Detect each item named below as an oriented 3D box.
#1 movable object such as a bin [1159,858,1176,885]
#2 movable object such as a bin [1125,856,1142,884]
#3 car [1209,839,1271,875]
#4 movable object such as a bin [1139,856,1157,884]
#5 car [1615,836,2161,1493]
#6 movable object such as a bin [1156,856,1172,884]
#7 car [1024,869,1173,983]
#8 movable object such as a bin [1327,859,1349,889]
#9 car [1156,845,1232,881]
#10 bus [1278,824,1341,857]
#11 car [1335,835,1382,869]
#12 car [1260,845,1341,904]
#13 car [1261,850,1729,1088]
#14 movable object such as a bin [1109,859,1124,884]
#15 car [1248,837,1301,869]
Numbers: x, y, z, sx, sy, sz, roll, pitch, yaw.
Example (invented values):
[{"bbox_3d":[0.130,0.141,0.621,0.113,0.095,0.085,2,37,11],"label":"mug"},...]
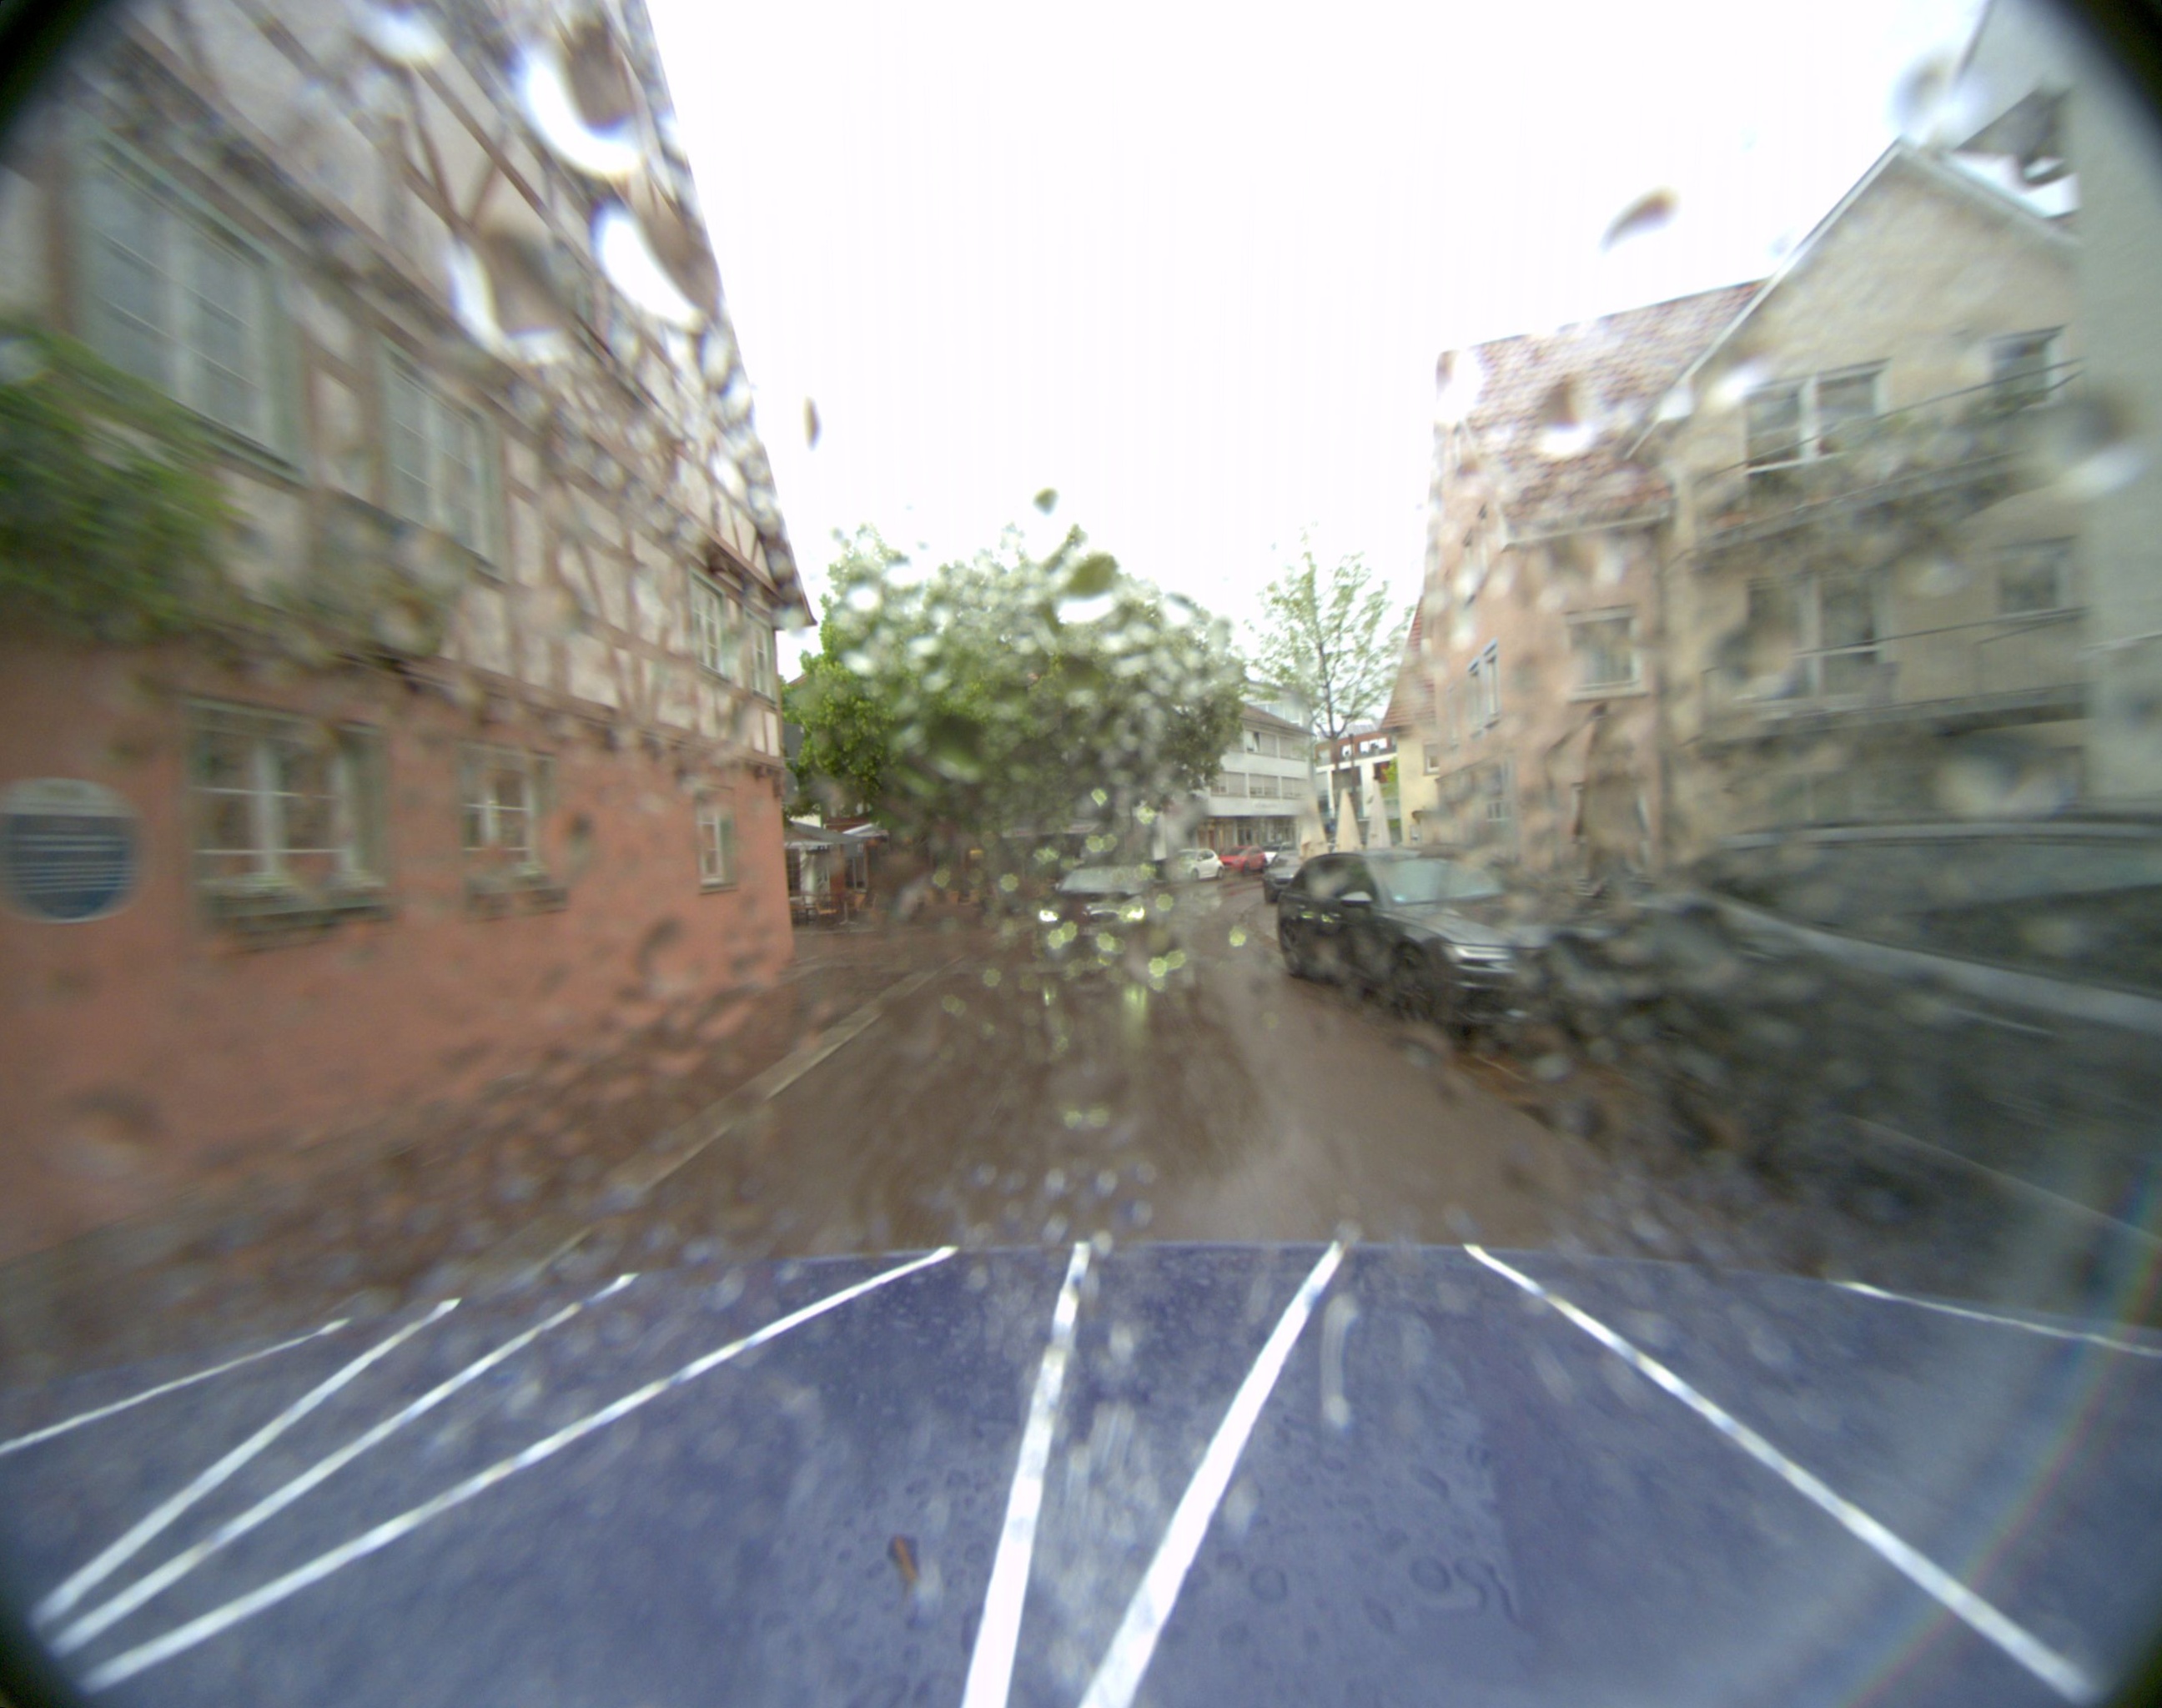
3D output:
[{"bbox_3d":[3.741,0.745,32.790,0.534,1.143,0.501,-2,2,27],"label":"movable object such as a bin"},{"bbox_3d":[2.272,0.699,32.972,0.503,1.143,0.581,-2,2,27],"label":"movable object such as a bin"},{"bbox_3d":[8.389,0.122,39.840,1.691,1.680,3.964,-2,2,35],"label":"car"},{"bbox_3d":[2.888,0.695,32.763,0.545,1.143,0.586,-2,2,27],"label":"movable object such as a bin"},{"bbox_3d":[3.421,0.769,1.811,1.596,1.537,3.976,-3,1,3],"label":"car"},{"bbox_3d":[3.501,0.692,32.218,0.477,1.162,0.489,-2,2,27],"label":"movable object such as a bin"},{"bbox_3d":[0.084,1.036,12.932,1.999,1.398,4.892,-3,0,-4],"label":"car"},{"bbox_3d":[9.936,0.774,29.392,0.660,1.103,0.625,-2,2,29],"label":"movable object such as a bin"},{"bbox_3d":[5.356,0.406,35.547,1.691,1.530,4.412,-2,0,35],"label":"car"},{"bbox_3d":[25.164,-1.486,84.320,2.679,3.281,10.685,-3,1,-6],"label":"bus"},{"bbox_3d":[12.815,-0.128,34.972,1.691,1.415,3.822,-2,1,25],"label":"car"},{"bbox_3d":[6.752,0.559,23.014,1.996,1.446,4.379,-2,2,20],"label":"car"},{"bbox_3d":[3.350,0.753,7.403,1.806,1.424,4.625,-3,1,-3],"label":"car"},{"bbox_3d":[1.577,0.780,33.509,0.430,1.041,0.501,-2,2,27],"label":"movable object such as a bin"},{"bbox_3d":[11.400,-0.079,44.629,1.691,1.680,4.285,-2,2,33],"label":"car"}]
